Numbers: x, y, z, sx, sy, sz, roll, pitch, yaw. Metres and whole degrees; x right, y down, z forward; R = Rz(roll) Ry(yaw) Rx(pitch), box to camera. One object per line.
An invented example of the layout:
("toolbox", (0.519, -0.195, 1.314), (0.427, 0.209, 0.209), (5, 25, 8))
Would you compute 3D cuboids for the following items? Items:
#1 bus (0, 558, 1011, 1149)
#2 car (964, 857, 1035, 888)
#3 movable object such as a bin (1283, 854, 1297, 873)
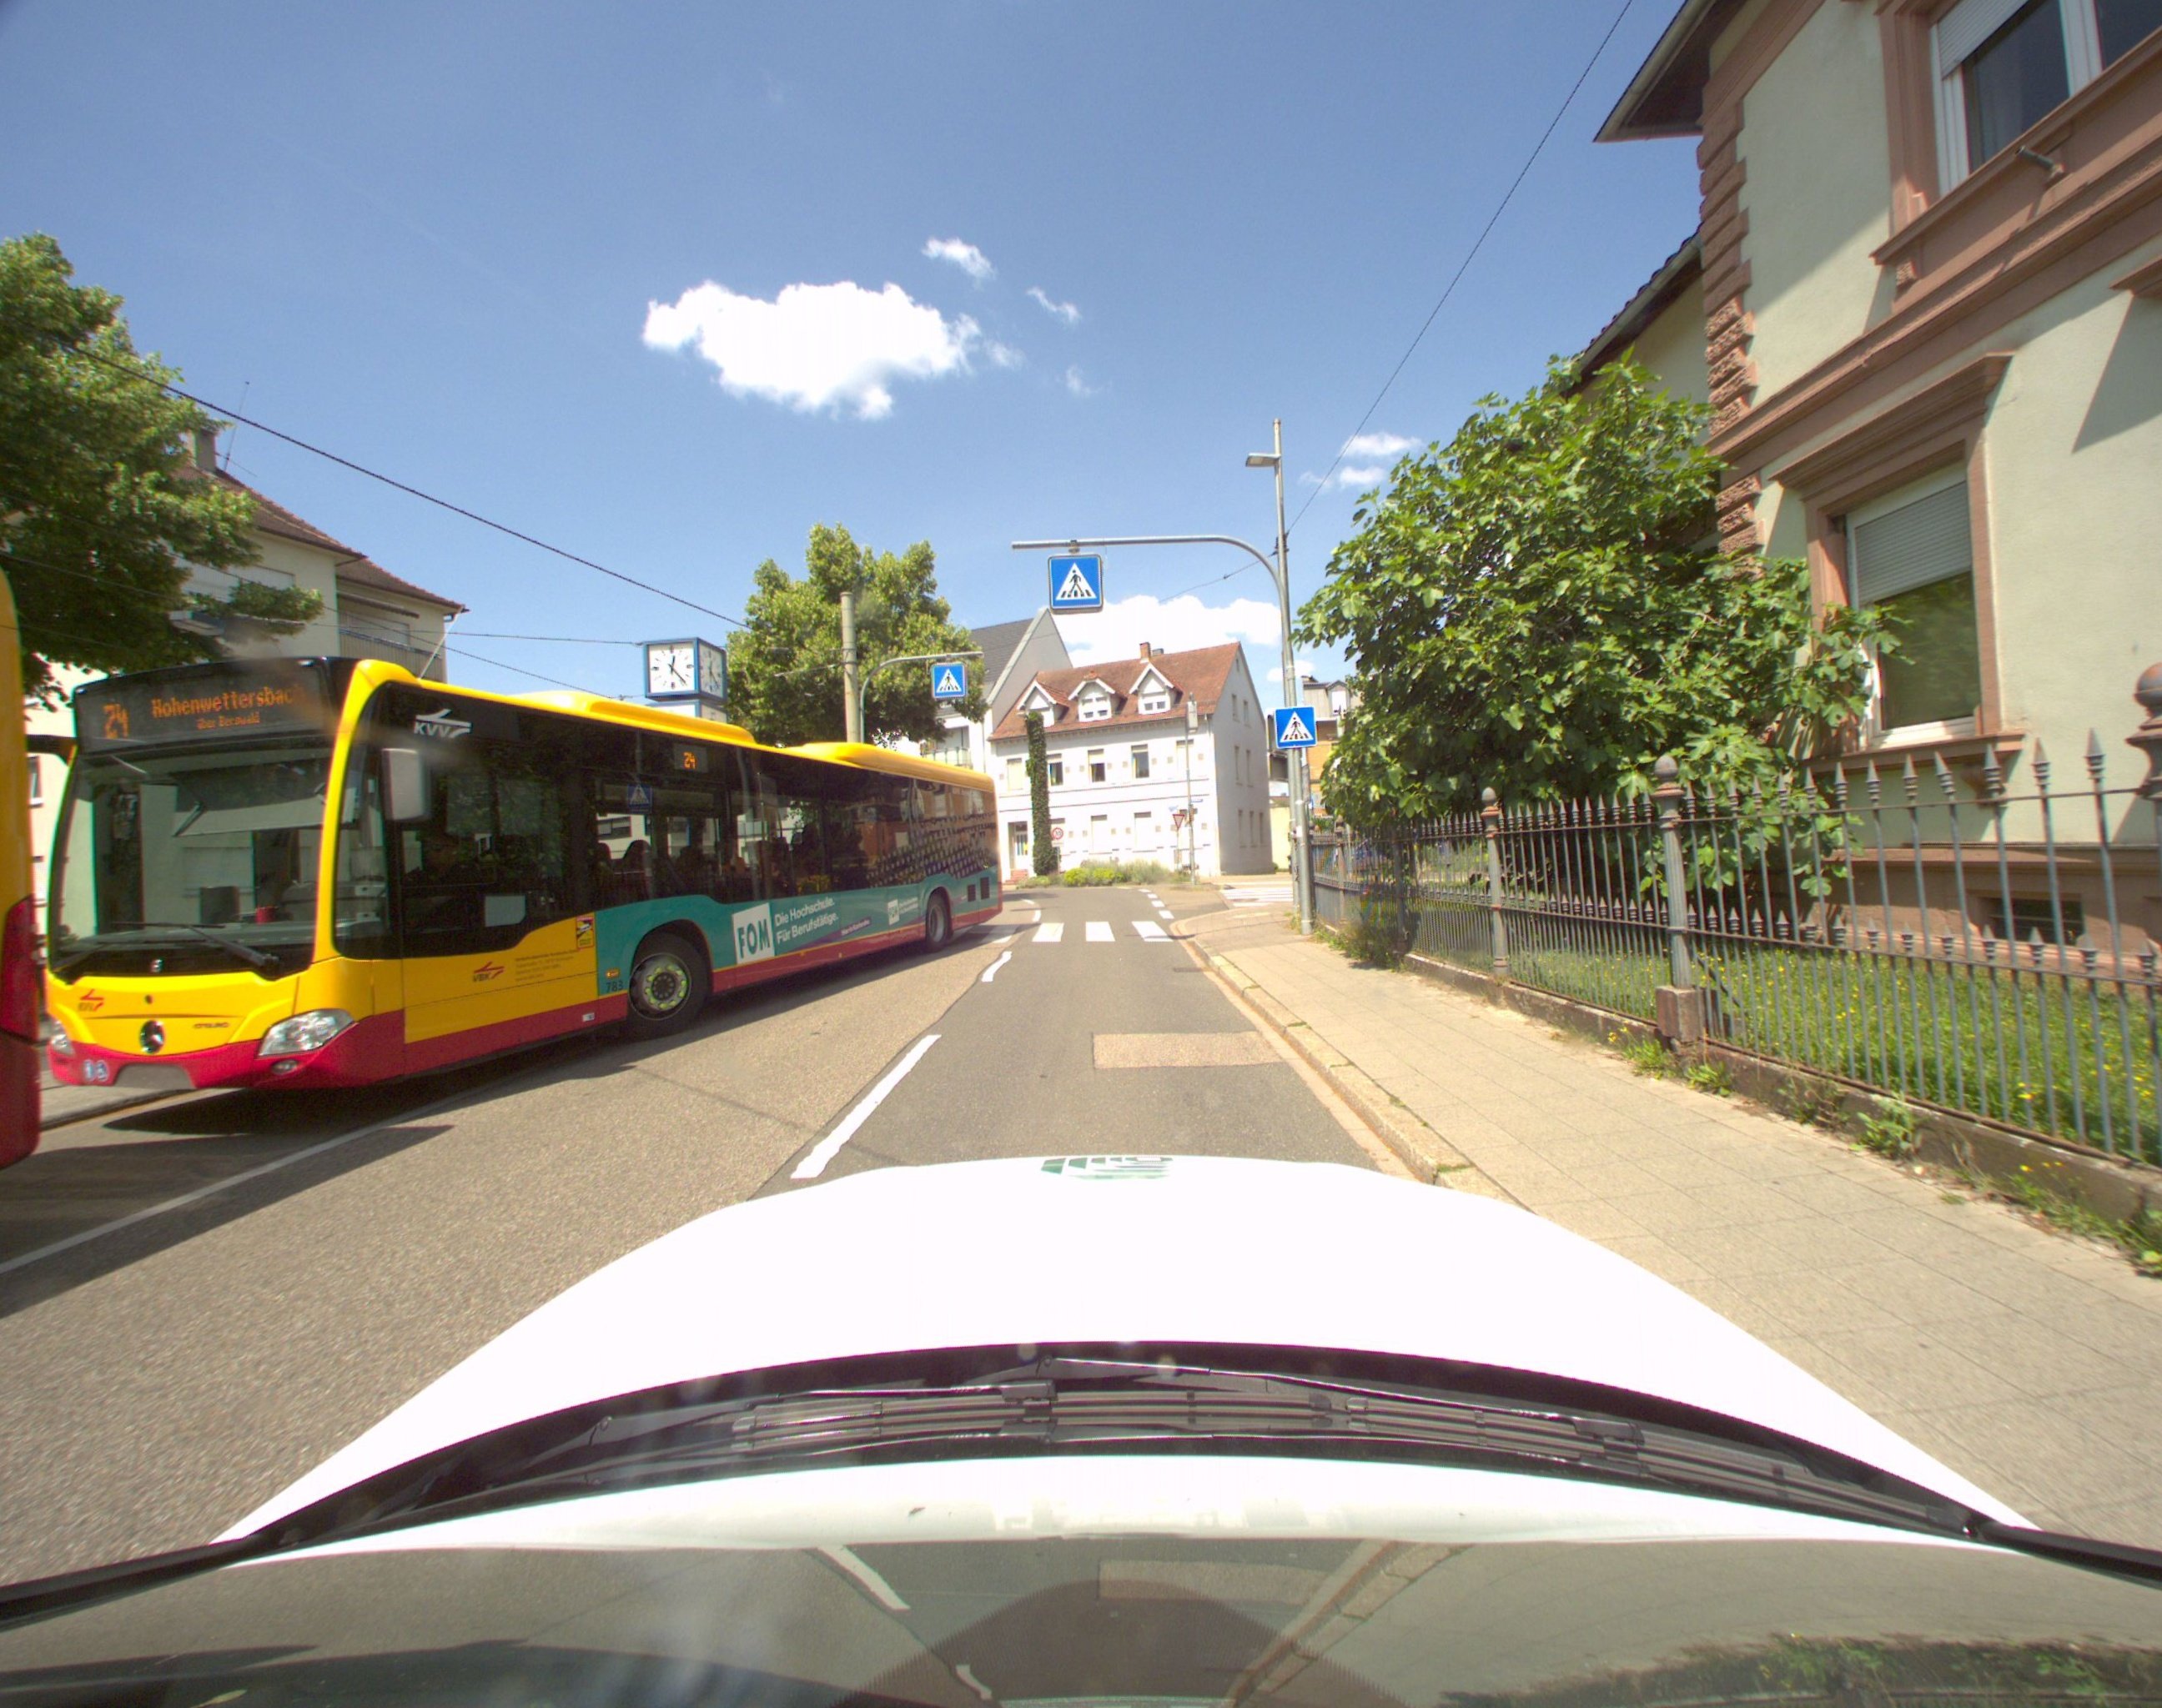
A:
("bus", (-4.209, -0.051, 10.728), (2.760, 3.208, 12.351), (-1, 0, 13))
("car", (-4.450, 1.039, 44.257), (3.571, 1.587, 1.594), (-2, -2, 33))
("movable object such as a bin", (10.265, 0.466, 39.989), (0.420, 0.916, 0.556), (0, -2, -23))
